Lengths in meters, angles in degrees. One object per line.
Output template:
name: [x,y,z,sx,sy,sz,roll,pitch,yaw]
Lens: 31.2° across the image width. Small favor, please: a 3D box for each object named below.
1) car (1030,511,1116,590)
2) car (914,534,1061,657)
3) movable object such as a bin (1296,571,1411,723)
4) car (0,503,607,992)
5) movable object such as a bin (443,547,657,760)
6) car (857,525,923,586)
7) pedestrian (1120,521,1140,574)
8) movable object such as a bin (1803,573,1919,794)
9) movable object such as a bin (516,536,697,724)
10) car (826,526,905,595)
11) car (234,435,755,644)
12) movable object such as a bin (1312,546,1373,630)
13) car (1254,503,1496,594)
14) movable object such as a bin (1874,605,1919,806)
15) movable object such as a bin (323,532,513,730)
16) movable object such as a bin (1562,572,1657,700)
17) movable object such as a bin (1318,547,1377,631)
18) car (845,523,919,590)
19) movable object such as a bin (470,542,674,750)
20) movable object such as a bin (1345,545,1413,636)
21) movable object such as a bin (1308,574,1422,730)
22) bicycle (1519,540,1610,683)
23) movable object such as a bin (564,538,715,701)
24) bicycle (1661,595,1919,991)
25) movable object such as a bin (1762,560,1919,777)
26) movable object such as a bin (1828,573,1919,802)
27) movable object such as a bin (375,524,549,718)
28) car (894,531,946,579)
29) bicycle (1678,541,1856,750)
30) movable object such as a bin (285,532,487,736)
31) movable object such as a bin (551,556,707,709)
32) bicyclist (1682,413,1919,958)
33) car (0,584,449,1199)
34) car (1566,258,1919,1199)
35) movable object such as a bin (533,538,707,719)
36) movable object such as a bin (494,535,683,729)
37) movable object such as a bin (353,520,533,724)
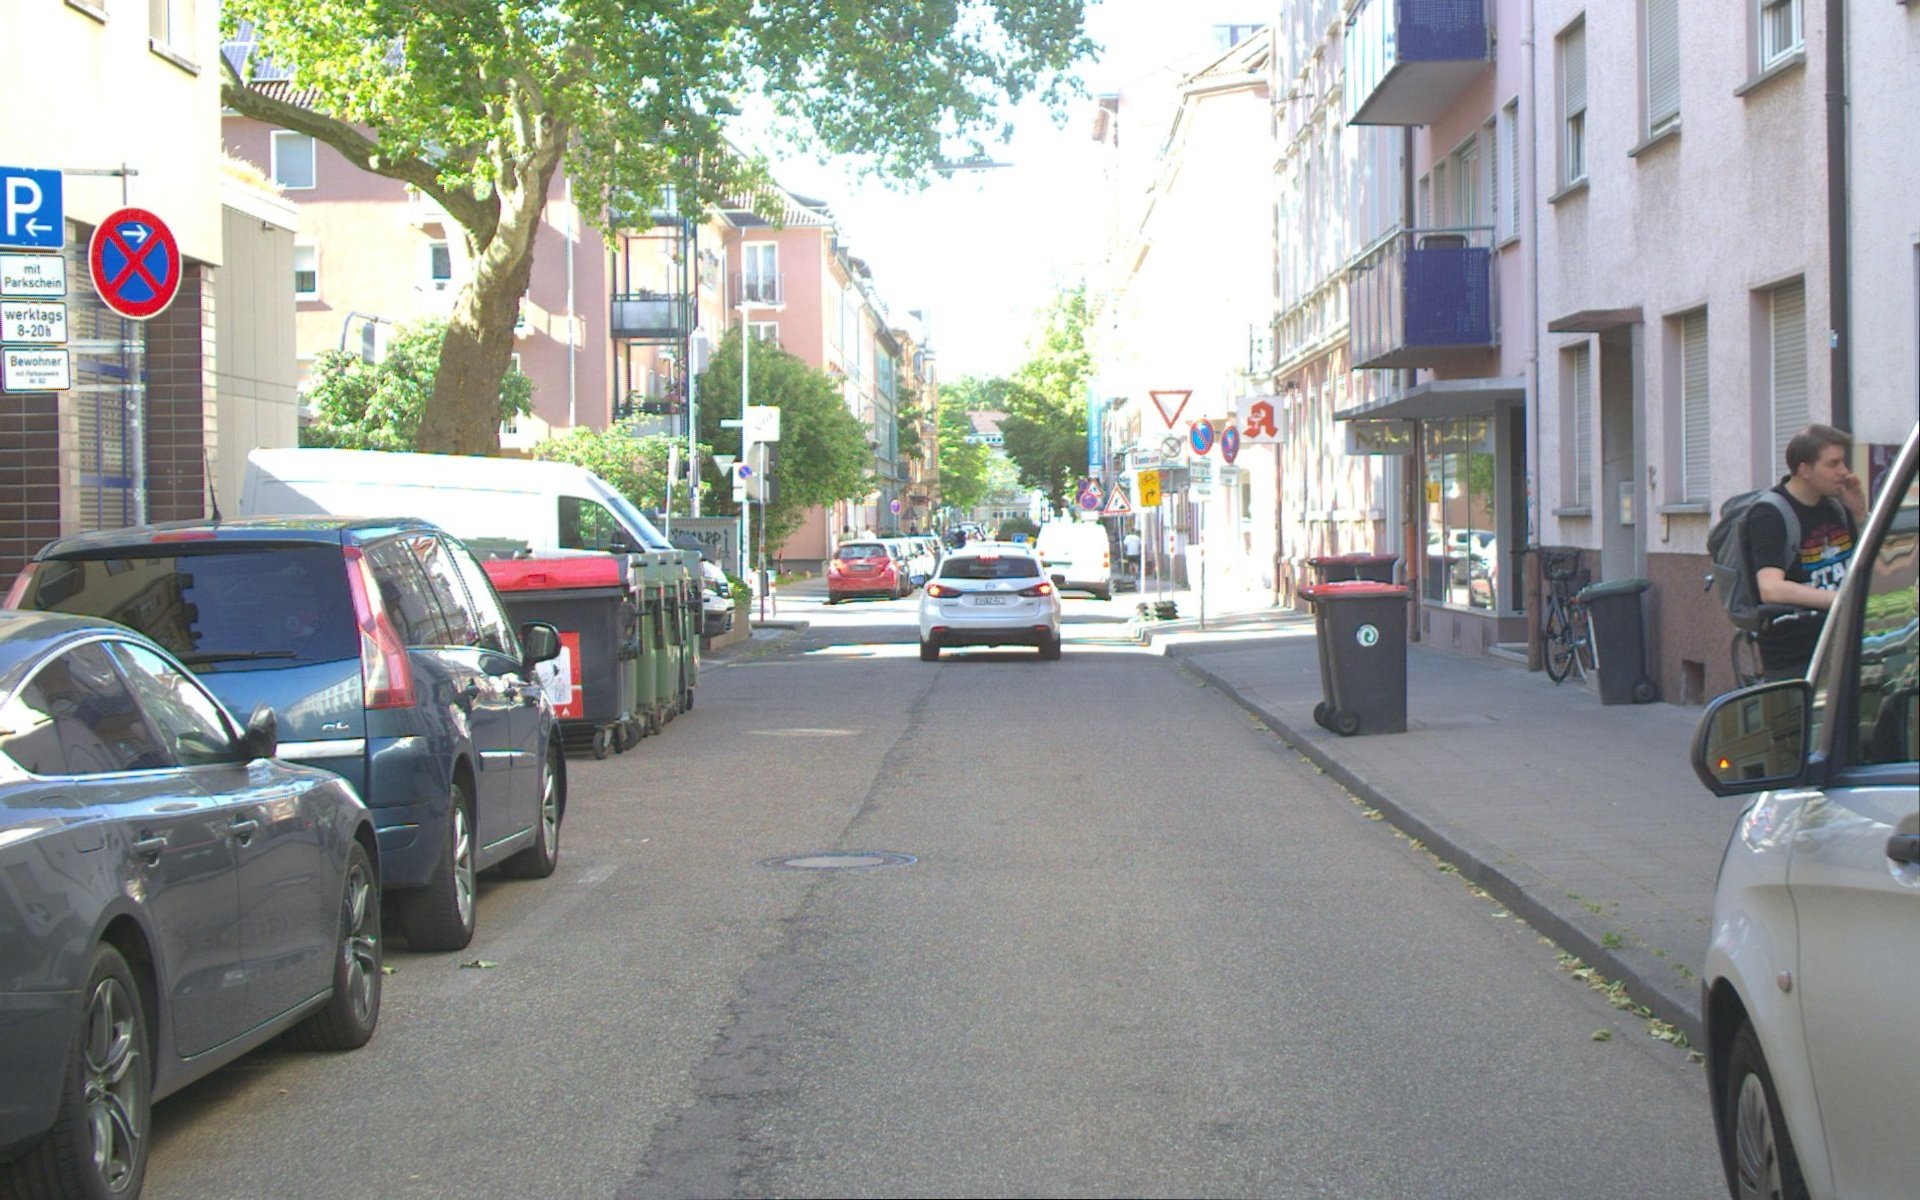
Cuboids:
car: [2.832,-1.269,87.119,1.942,1.941,4.079,0,1,-1]
car: [0.357,-0.091,44.983,1.823,1.509,3.824,-1,1,0]
movable object such as a bin: [2.865,0.337,25.056,0.768,1.083,0.693,-1,0,2]
car: [-2.684,0.472,14.386,1.782,1.661,4.670,-2,1,1]
movable object such as a bin: [-2.921,0.368,24.634,1.319,1.445,1.187,-2,0,1]
car: [-1.915,-1.228,95.144,1.635,1.650,3.785,-1,1,2]
pedestrian: [5.617,-1.735,113.473,0.617,1.727,0.560,-1,0,0]
movable object such as a bin: [4.740,0.420,17.708,0.656,1.101,0.593,-1,1,2]
movable object such as a bin: [-2.852,0.236,27.886,1.343,1.493,1.018,0,0,1]
car: [-2.292,-0.986,84.039,1.770,1.583,3.726,-1,2,0]
car: [-6.351,-0.832,47.370,6.740,2.546,2.145,2,1,3]
movable object such as a bin: [5.019,-0.159,45.100,0.745,1.082,0.634,-1,0,3]
car: [9.133,-1.111,75.629,4.896,1.922,1.997,0,-1,26]
movable object such as a bin: [4.771,0.496,16.512,0.605,0.931,0.605,-1,1,2]
movable object such as a bin: [-4.228,0.232,26.907,1.302,1.517,1.018,0,0,1]
movable object such as a bin: [4.904,0.265,25.973,0.598,0.948,0.682,-1,0,2]
movable object such as a bin: [5.007,-0.145,44.468,0.701,1.069,0.596,-1,0,3]
car: [-2.006,-1.137,89.631,1.720,1.677,3.726,-1,1,2]
movable object such as a bin: [-2.897,0.332,25.807,1.334,1.479,1.093,-2,0,1]
movable object such as a bin: [5.180,-0.117,42.518,0.729,1.100,0.693,-1,0,-1]
movable object such as a bin: [2.860,0.363,24.342,0.732,1.077,0.703,-1,0,2]
bicycle: [5.037,0.078,28.708,0.453,1.130,1.919,-3,1,3]
movable object such as a bin: [-2.891,0.171,31.146,1.300,1.446,1.117,0,0,-2]
bicycle: [2.973,0.602,11.727,0.663,1.133,1.988,-4,2,-1]
movable object such as a bin: [4.735,0.358,18.302,0.739,1.094,0.640,-3,0,2]
movable object such as a bin: [4.716,0.427,17.146,0.628,1.118,0.569,-1,0,2]
movable object such as a bin: [-4.183,0.167,28.972,1.288,1.599,1.082,0,0,1]
car: [-1.333,-1.508,116.242,1.572,1.580,3.611,-1,1,2]
bicycle: [4.924,0.247,21.091,0.536,1.166,2.076,-5,1,1]
movable object such as a bin: [-4.296,0.243,25.831,1.305,1.493,1.157,0,0,1]
movable object such as a bin: [-2.879,0.274,30.048,1.241,1.317,1.046,0,0,1]
bicyclist: [2.973,0.263,11.715,0.760,1.764,0.823,-3,2,-1]
car: [-2.692,0.712,9.006,1.845,1.412,4.818,-2,1,1]
car: [2.291,0.421,4.399,1.983,1.877,5.600,-4,1,1]
movable object such as a bin: [-2.851,0.232,28.954,1.334,1.486,1.082,0,0,1]
movable object such as a bin: [-2.888,0.244,26.851,1.348,1.482,1.003,0,0,1]
movable object such as a bin: [-4.184,0.171,27.907,1.294,1.615,1.018,0,0,1]
